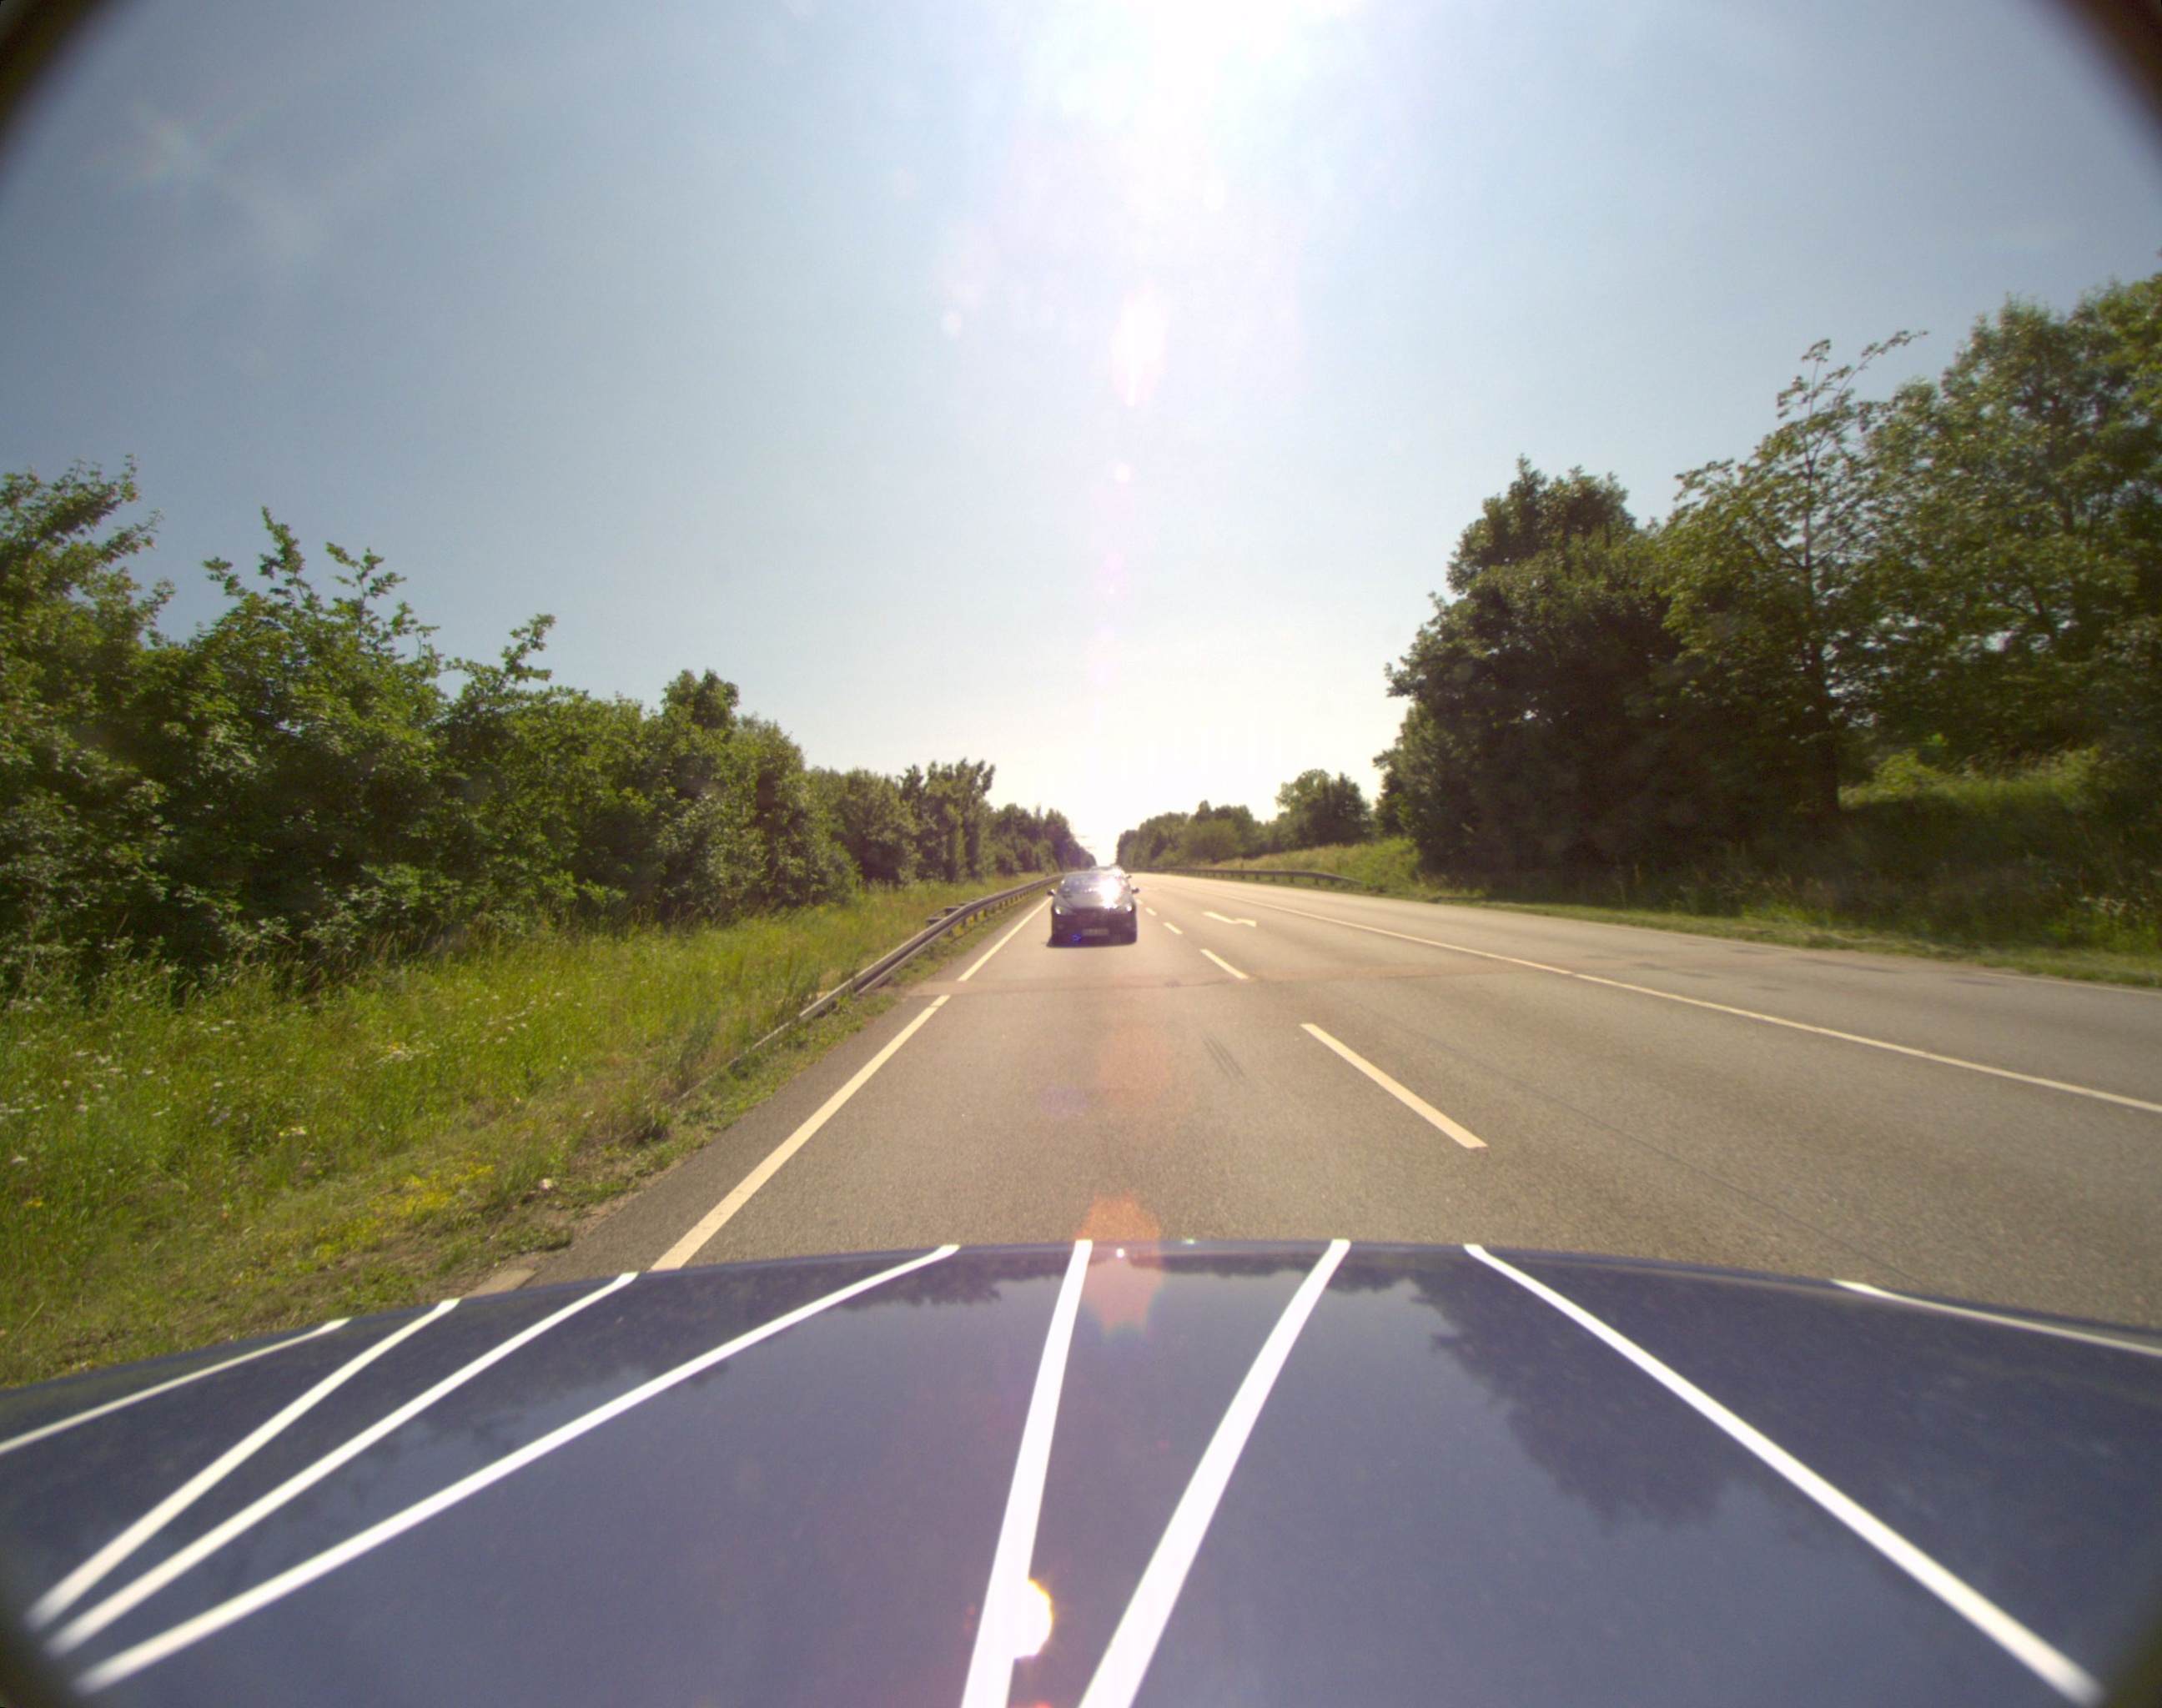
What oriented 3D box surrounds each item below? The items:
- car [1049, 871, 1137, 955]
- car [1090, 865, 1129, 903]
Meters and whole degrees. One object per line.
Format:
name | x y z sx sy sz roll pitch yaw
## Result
car | 0.269 1.093 15.299 1.529 1.387 3.444 -2 0 2
car | 1.121 1.199 31.404 1.443 1.442 3.299 -2 -1 0
